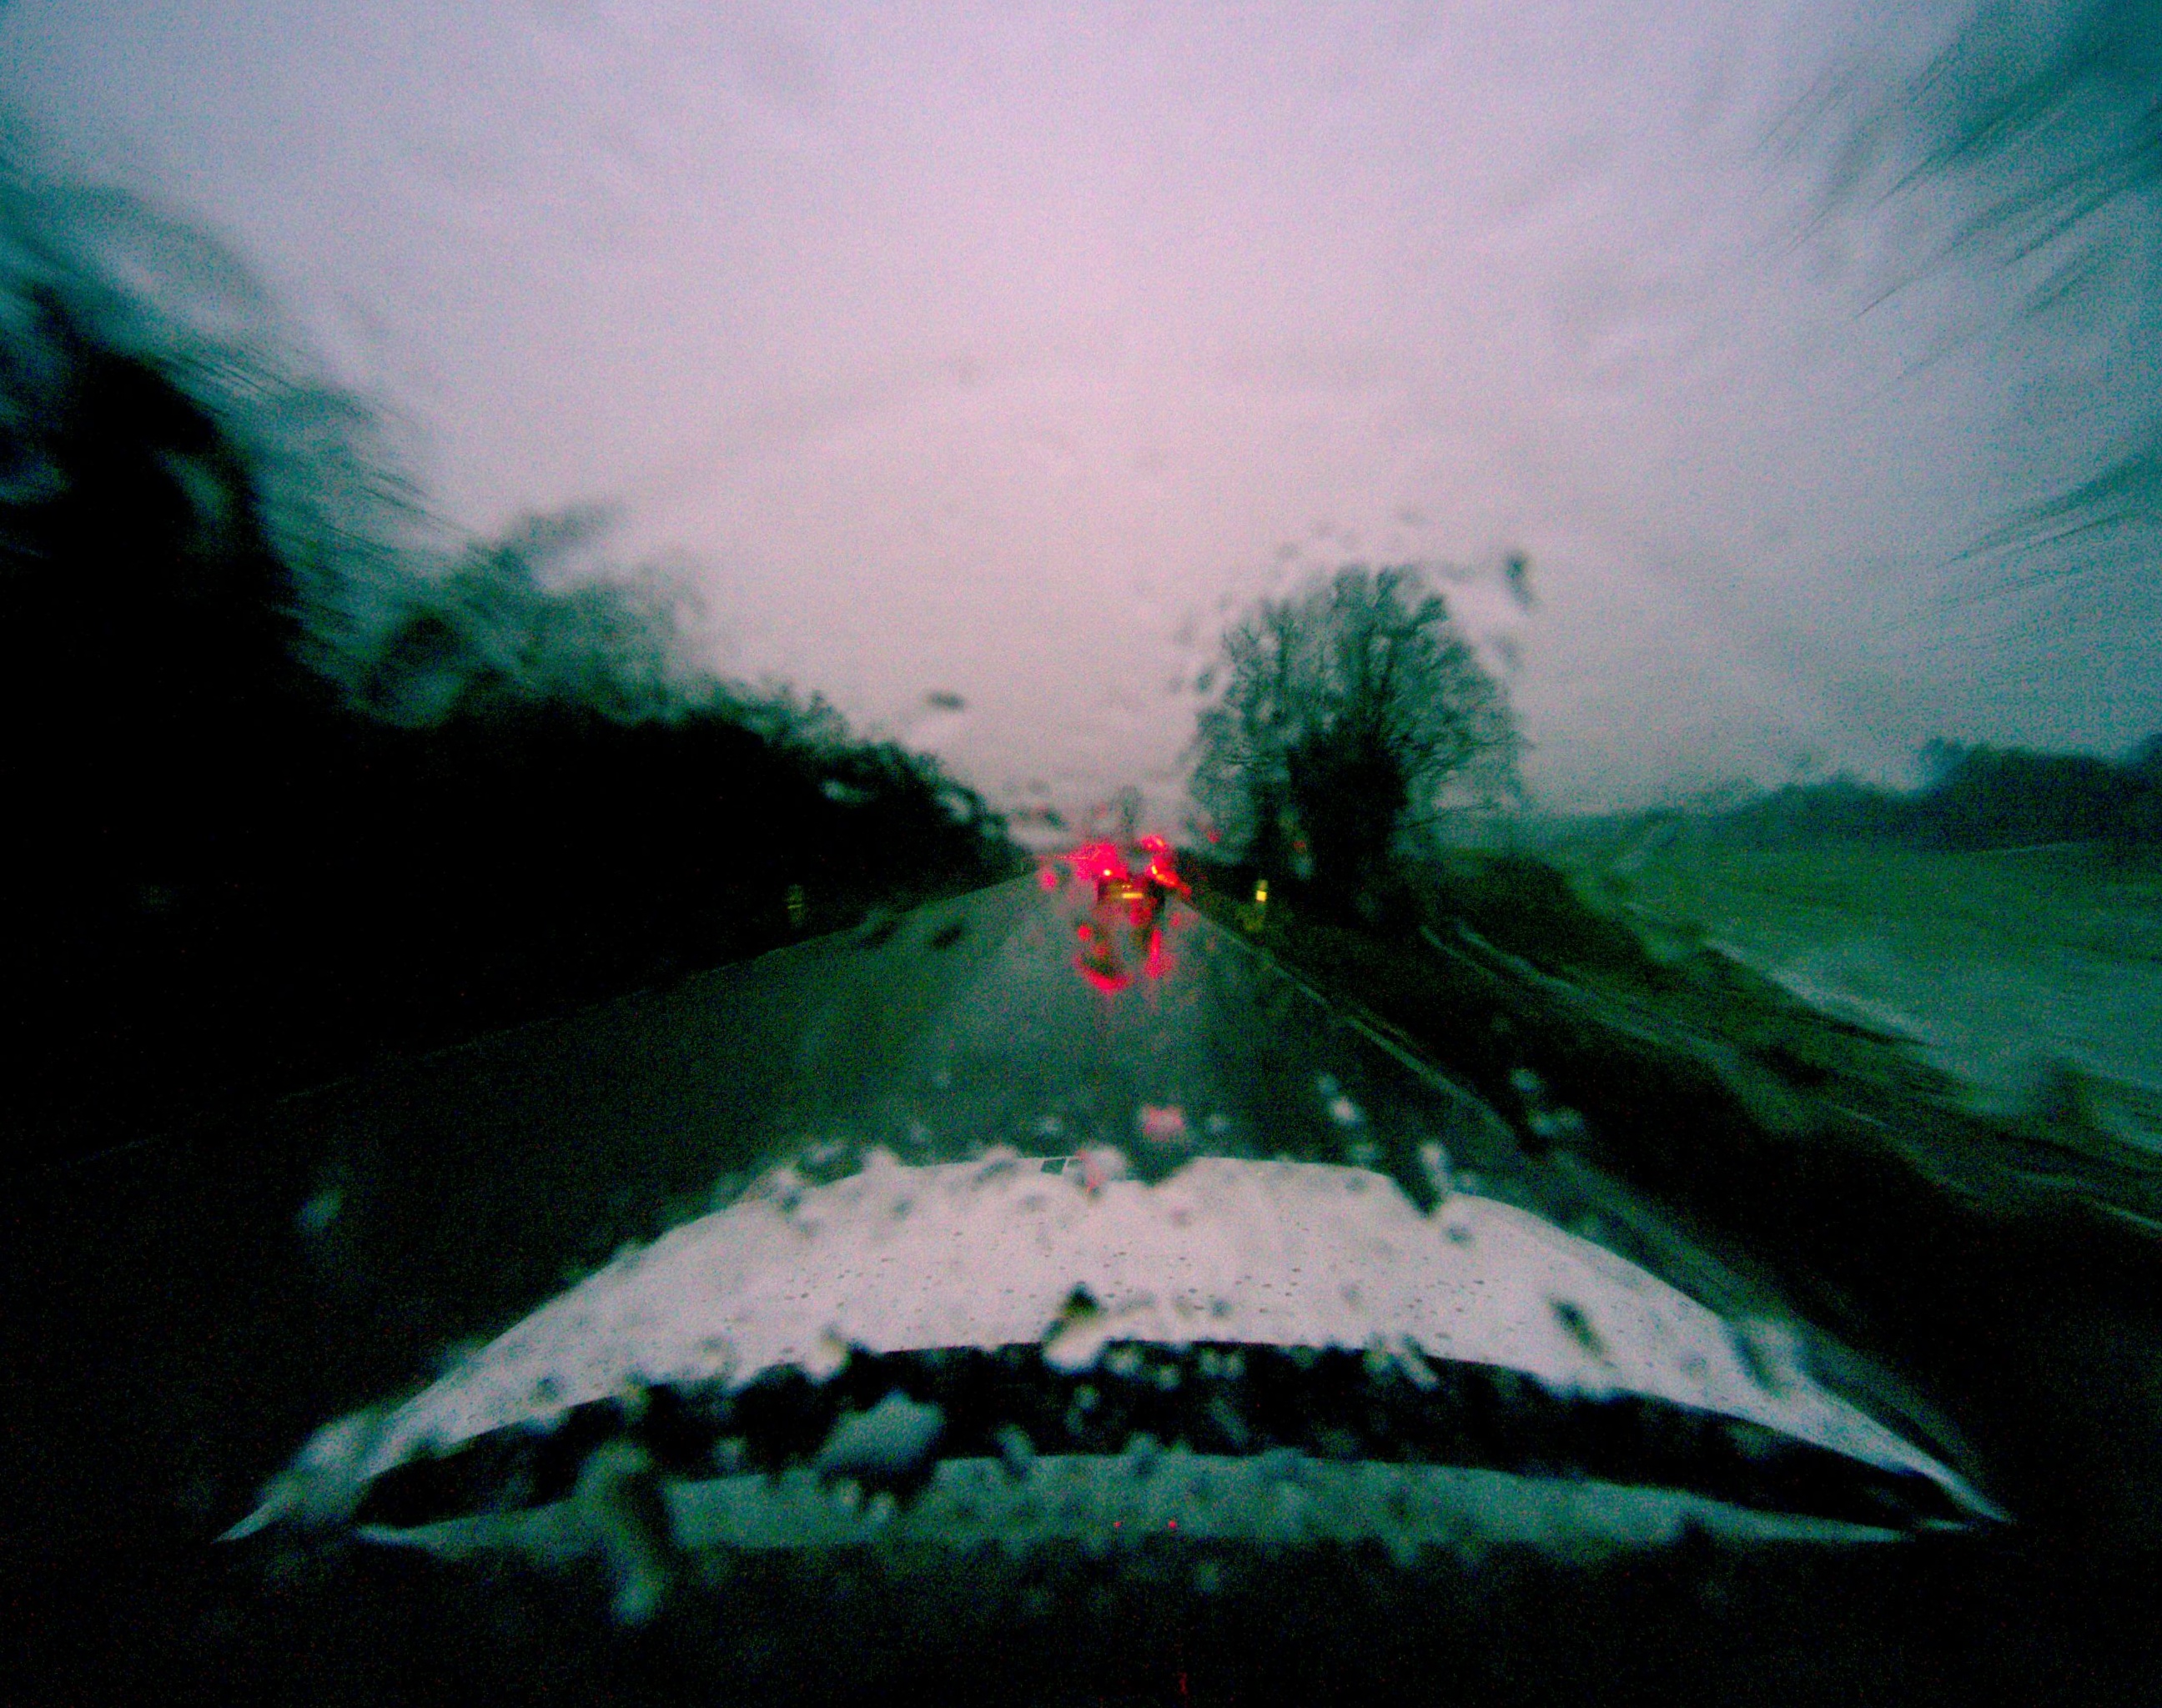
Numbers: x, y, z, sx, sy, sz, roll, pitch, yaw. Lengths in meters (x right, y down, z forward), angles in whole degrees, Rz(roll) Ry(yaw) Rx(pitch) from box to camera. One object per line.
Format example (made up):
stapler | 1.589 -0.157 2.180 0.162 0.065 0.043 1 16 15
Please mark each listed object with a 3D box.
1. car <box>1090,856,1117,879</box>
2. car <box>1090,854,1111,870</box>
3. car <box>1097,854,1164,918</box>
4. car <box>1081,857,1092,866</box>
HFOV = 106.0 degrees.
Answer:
car | 1.450 0.805 50.743 1.540 1.396 3.872 -1 0 3
car | 1.734 0.671 70.393 1.539 1.396 3.874 -1 0 5
car | 1.287 0.777 21.715 1.596 1.522 3.872 -1 0 2
car | 0.921 1.288 139.262 1.540 1.396 3.873 -1 0 4
